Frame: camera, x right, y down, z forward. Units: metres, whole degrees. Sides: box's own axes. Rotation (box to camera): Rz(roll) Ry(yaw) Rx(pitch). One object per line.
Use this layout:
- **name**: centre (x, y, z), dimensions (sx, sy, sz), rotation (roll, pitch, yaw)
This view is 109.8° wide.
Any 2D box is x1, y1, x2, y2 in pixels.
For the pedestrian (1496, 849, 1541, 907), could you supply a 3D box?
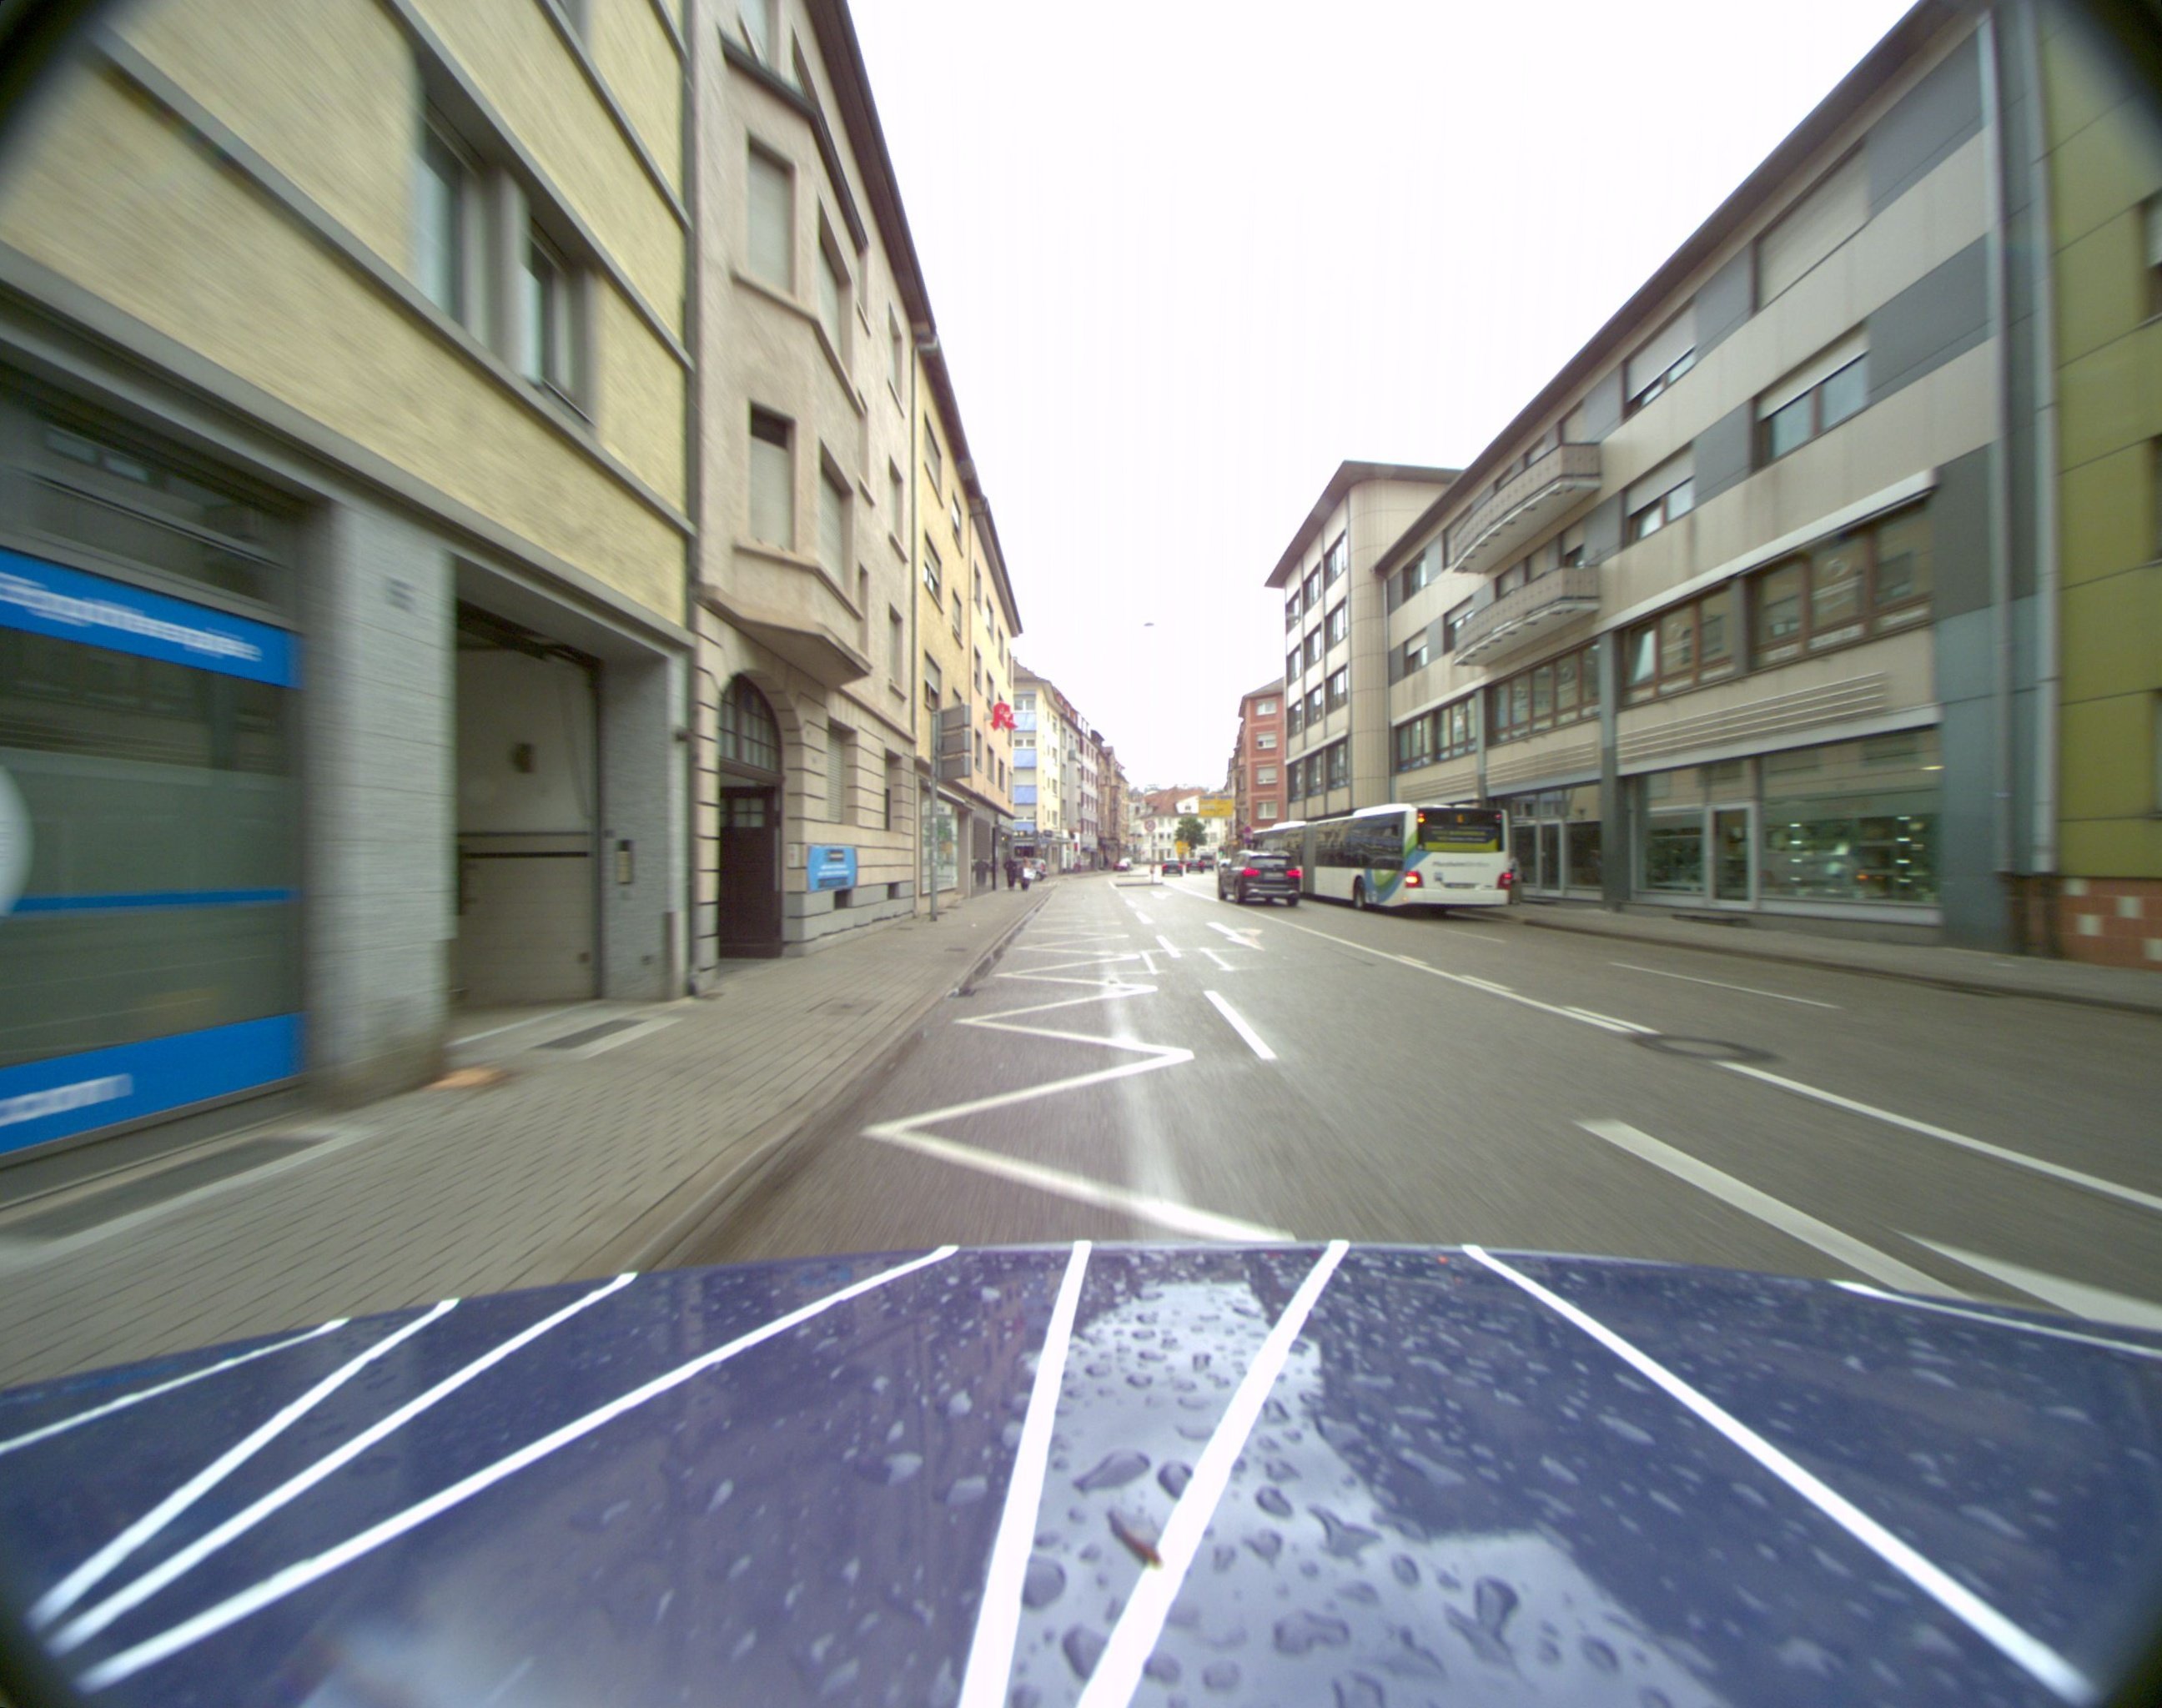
- **pedestrian**: centre (12.323, 0.652, 21.419), dimensions (0.839, 1.605, 0.711), rotation (0, 1, 0)

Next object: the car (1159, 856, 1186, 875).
- **car**: centre (7.439, 0.902, 61.966), dimensions (1.713, 1.443, 4.085), rotation (0, 1, 0)

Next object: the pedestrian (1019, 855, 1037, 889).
- **pedestrian**: centre (-2.419, 0.819, 34.659), dimensions (0.780, 1.551, 0.782), rotation (0, 1, -1)

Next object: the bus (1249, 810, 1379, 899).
- **bus**: centre (9.332, -0.016, 31.726), dimensions (2.765, 3.170, 8.911), rotation (0, 1, 0)

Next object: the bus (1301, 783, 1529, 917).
- **bus**: centre (9.237, -0.132, 22.604), dimensions (2.732, 3.170, 9.292), rotation (0, 1, 0)

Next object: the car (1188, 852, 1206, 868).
- **car**: centre (12.499, 0.634, 81.965), dimensions (1.746, 1.652, 4.422), rotation (0, -1, 11)

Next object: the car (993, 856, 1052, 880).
- **car**: centre (-4.019, 0.947, 52.572), dimensions (3.833, 1.565, 1.937), rotation (0, 1, 6)

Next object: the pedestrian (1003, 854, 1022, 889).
- **pedestrian**: centre (-3.120, 0.776, 34.553), dimensions (0.770, 1.551, 0.876), rotation (0, 1, -1)

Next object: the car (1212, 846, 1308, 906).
- **car**: centre (5.608, 0.628, 24.389), dimensions (1.936, 1.747, 4.572), rotation (0, 1, -1)

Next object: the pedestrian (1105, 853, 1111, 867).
- **pedestrian**: centre (3.437, 0.757, 96.596), dimensions (0.745, 1.769, 0.796), rotation (0, 1, 7)

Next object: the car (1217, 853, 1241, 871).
- **car**: centre (13.256, 0.697, 68.209), dimensions (1.853, 1.389, 4.796), rotation (-3, 0, 9)

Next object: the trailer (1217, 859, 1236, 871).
- **trailer**: centre (12.327, 0.896, 64.319), dimensions (1.590, 0.944, 3.059), rotation (-1, 0, 11)

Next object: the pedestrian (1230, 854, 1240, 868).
- **pedestrian**: centre (18.100, 0.816, 89.182), dimensions (0.845, 1.669, 0.853), rotation (-3, 1, -3)

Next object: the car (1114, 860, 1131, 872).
- **car**: centre (5.246, 1.492, 95.936), dimensions (1.747, 1.361, 4.318), rotation (0, 0, 9)

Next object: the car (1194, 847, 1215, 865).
- **car**: centre (16.995, 0.197, 104.717), dimensions (2.091, 2.421, 6.353), rotation (0, 1, 3)
